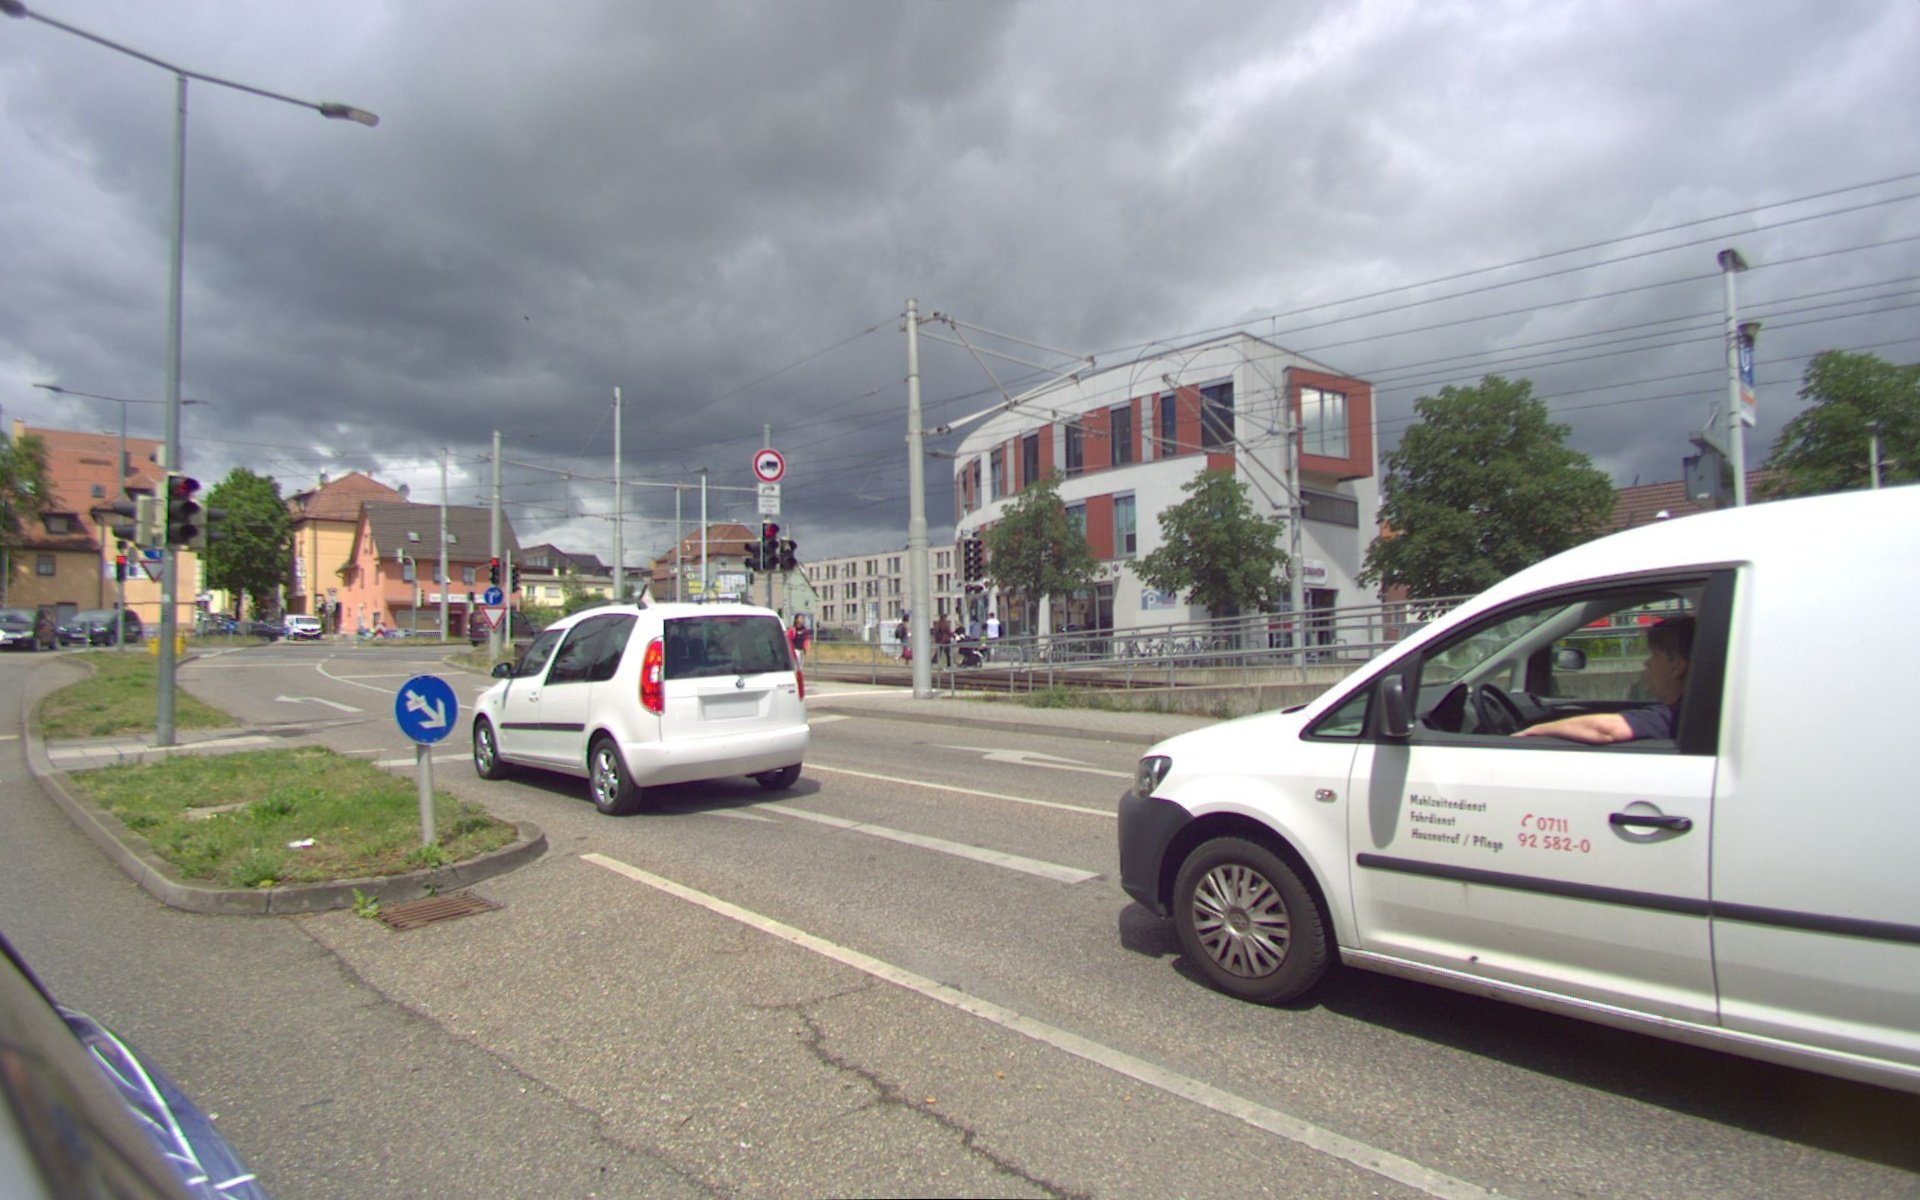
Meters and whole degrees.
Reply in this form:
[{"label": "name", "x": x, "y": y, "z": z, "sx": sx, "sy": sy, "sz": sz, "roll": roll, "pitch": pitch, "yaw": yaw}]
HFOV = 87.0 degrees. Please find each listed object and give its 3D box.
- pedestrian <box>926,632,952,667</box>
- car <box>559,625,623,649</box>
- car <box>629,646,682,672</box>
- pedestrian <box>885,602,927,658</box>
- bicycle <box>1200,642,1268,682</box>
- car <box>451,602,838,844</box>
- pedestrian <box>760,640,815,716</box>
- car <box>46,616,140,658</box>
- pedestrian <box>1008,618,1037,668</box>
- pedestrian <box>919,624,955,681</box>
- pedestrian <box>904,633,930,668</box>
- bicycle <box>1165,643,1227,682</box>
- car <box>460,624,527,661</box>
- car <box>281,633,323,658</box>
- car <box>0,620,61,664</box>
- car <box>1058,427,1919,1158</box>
[{"label": "pedestrian", "x": -1.267, "y": 2.939, "z": 60.009, "sx": 1.235, "sy": 2.029, "sz": 1.143, "roll": 1, "pitch": -3, "yaw": -21}, {"label": "car", "x": -23.893, "y": 2.378, "z": 65.725, "sx": 1.782, "sy": 1.421, "sz": 5.041, "roll": 0, "pitch": -1, "yaw": 7}, {"label": "car", "x": -25.620, "y": 4.959, "z": 85.189, "sx": 1.995, "sy": 2.029, "sz": 3.954, "roll": -4, "pitch": -4, "yaw": 34}, {"label": "pedestrian", "x": -1.642, "y": 0.920, "z": 30.735, "sx": 0.851, "sy": 1.649, "sz": 0.922, "roll": 3, "pitch": -3, "yaw": -41}, {"label": "bicycle", "x": 7.689, "y": 1.740, "z": 28.387, "sx": 1.872, "sy": 1.106, "sz": 0.696, "roll": 2, "pitch": -5, "yaw": -31}, {"label": "car", "x": -2.996, "y": 0.931, "z": 9.047, "sx": 1.679, "sy": 1.661, "sz": 4.082, "roll": 1, "pitch": -3, "yaw": -43}, {"label": "pedestrian", "x": -3.625, "y": 1.616, "z": 21.218, "sx": 0.835, "sy": 1.552, "sz": 0.790, "roll": -2, "pitch": -3, "yaw": 44}, {"label": "car", "x": -37.802, "y": 1.638, "z": 44.243, "sx": 1.965, "sy": 1.662, "sz": 4.434, "roll": 0, "pitch": -4, "yaw": -25}, {"label": "pedestrian", "x": 2.205, "y": 1.499, "z": 35.455, "sx": 0.830, "sy": 1.748, "sz": 0.665, "roll": -1, "pitch": -2, "yaw": 25}, {"label": "pedestrian", "x": -0.657, "y": 1.502, "z": 29.101, "sx": 0.821, "sy": 1.608, "sz": 0.643, "roll": 1, "pitch": -2, "yaw": -38}, {"label": "pedestrian", "x": -2.512, "y": 2.952, "z": 59.370, "sx": 1.235, "sy": 2.029, "sz": 1.143, "roll": 1, "pitch": -3, "yaw": -21}, {"label": "bicycle", "x": 6.900, "y": 1.821, "z": 29.566, "sx": 1.872, "sy": 1.106, "sz": 0.610, "roll": 2, "pitch": -3, "yaw": -31}, {"label": "car", "x": -24.627, "y": 2.203, "z": 53.647, "sx": 1.968, "sy": 1.836, "sz": 5.082, "roll": 0, "pitch": -1, "yaw": -10}, {"label": "car", "x": -52.825, "y": 3.632, "z": 81.225, "sx": 2.050, "sy": 1.912, "sz": 4.666, "roll": 1, "pitch": -3, "yaw": -44}, {"label": "car", "x": -34.321, "y": 1.533, "z": 36.604, "sx": 1.851, "sy": 1.440, "sz": 4.012, "roll": 0, "pitch": -4, "yaw": -29}, {"label": "car", "x": 2.638, "y": 0.467, "z": 3.125, "sx": 4.507, "sy": 1.675, "sz": 1.742, "roll": 0, "pitch": -2, "yaw": 43}]
